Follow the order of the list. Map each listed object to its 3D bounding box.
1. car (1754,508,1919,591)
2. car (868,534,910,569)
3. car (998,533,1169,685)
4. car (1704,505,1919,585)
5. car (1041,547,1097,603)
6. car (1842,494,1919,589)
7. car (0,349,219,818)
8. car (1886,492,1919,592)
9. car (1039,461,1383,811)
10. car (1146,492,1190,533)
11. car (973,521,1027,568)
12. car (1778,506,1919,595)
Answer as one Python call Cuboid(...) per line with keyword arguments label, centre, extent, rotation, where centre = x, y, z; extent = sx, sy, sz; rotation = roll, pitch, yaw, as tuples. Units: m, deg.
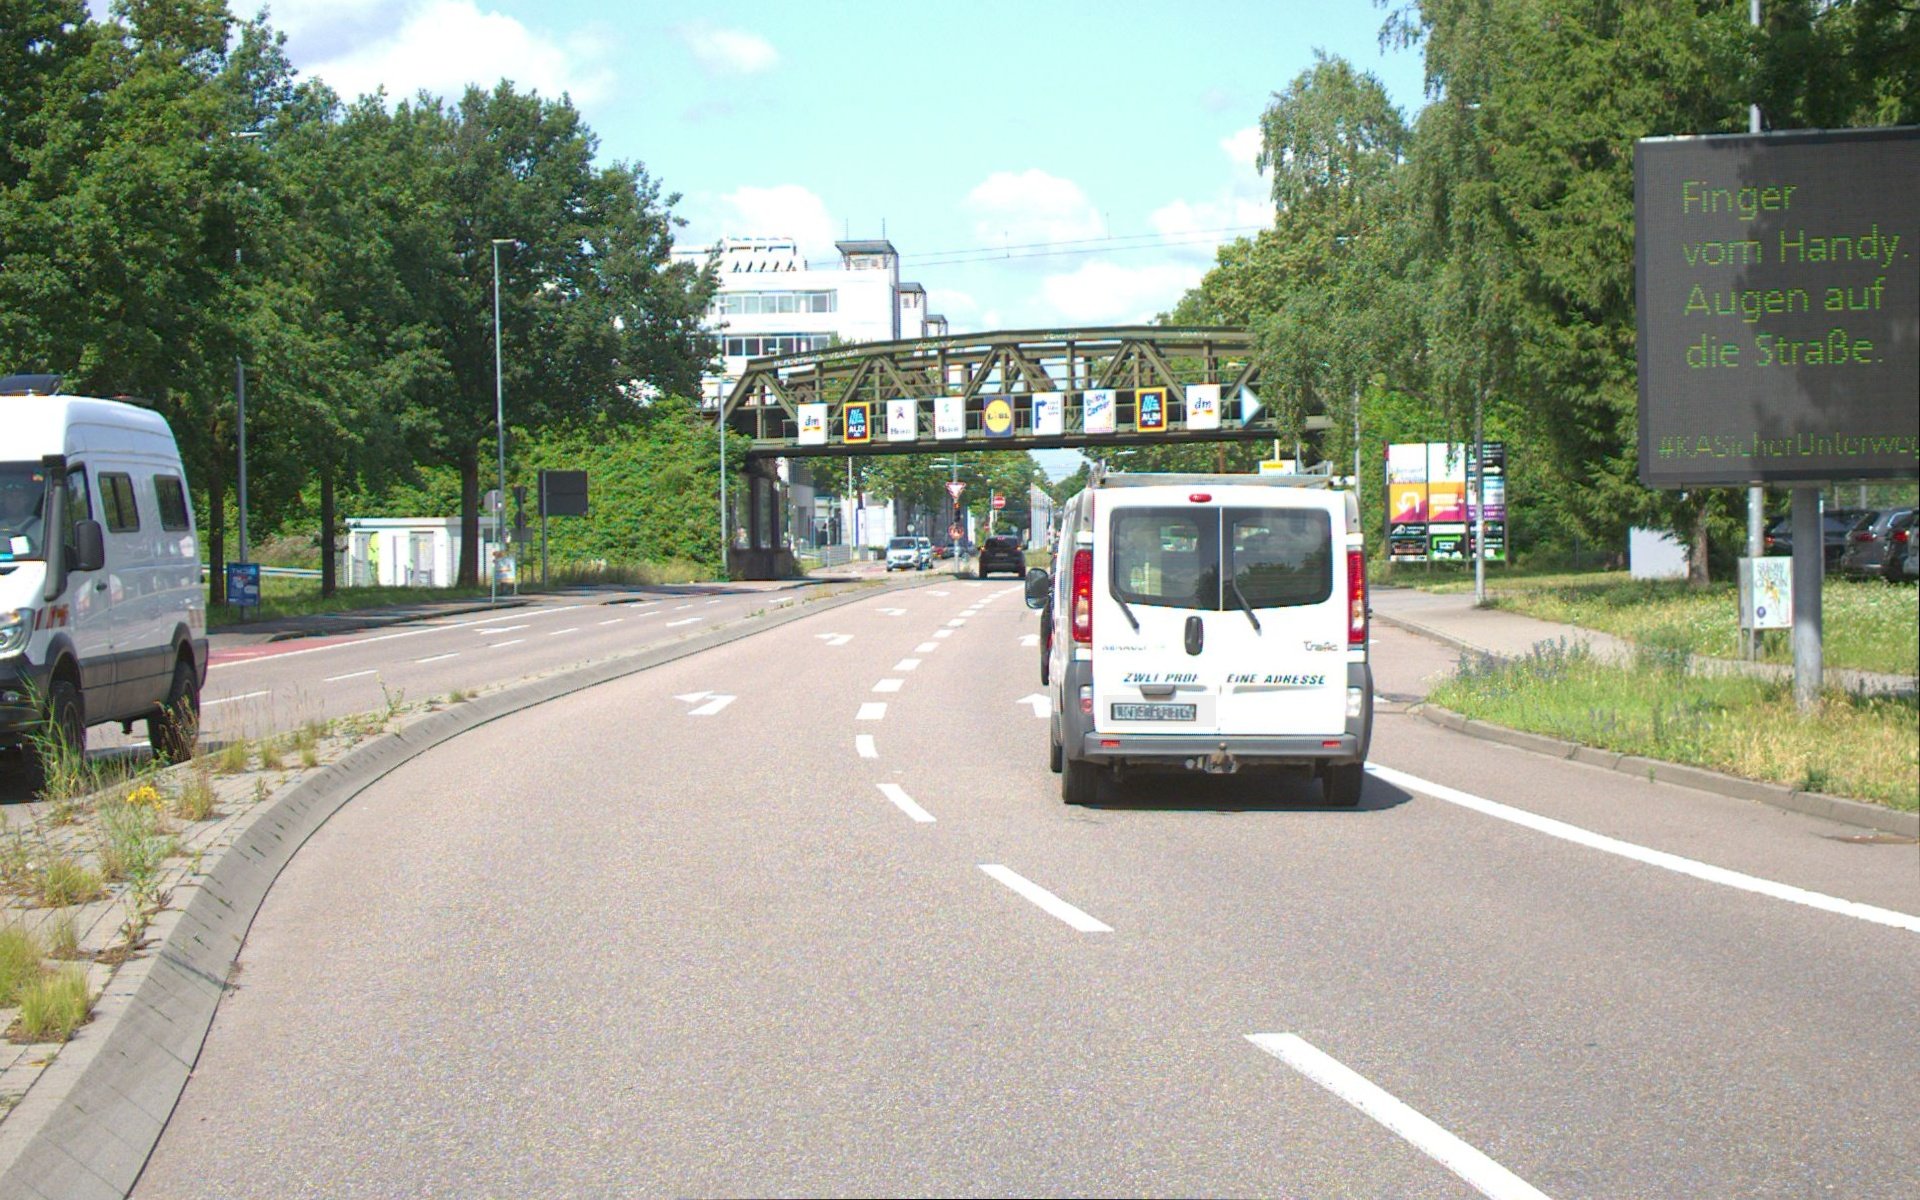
Cuboid(label="car", centre=(17.438, -0.965, 65.101), extent=(4.355, 1.507, 1.936), rotation=(0, 3, 1))
Cuboid(label="car", centre=(-4.124, -2.847, 200.314), extent=(1.994, 2.007, 4.000), rotation=(-1, 1, 4))
Cuboid(label="car", centre=(1.410, 0.065, 40.650), extent=(1.774, 1.623, 4.001), rotation=(0, 2, -1))
Cuboid(label="car", centre=(17.151, -1.097, 68.231), extent=(4.355, 1.507, 1.936), rotation=(0, 3, 1))
Cuboid(label="car", centre=(4.053, -0.927, 127.031), extent=(1.994, 2.007, 4.000), rotation=(-1, 1, 3))
Cuboid(label="car", centre=(17.060, -0.978, 57.030), extent=(4.355, 1.507, 1.936), rotation=(0, 3, 1))
Cuboid(label="car", centre=(-6.864, -0.143, 24.306), extent=(2.023, 2.883, 6.383), rotation=(-1, 1, -2))
Cuboid(label="car", centre=(17.107, -0.927, 54.449), extent=(4.355, 1.507, 1.936), rotation=(0, 3, 1))
Cuboid(label="car", centre=(1.537, 0.125, 22.559), extent=(1.973, 2.052, 4.565), rotation=(0, 2, 1))
Cuboid(label="car", centre=(13.086, -5.482, 216.082), extent=(2.379, 2.467, 4.760), rotation=(-1, 1, 8))
Cuboid(label="car", centre=(1.613, -2.254, 138.303), extent=(1.994, 1.765, 4.000), rotation=(0, 3, 3))
Cuboid(label="car", centre=(16.999, -0.887, 61.291), extent=(4.355, 1.507, 1.936), rotation=(0, 3, 1))
